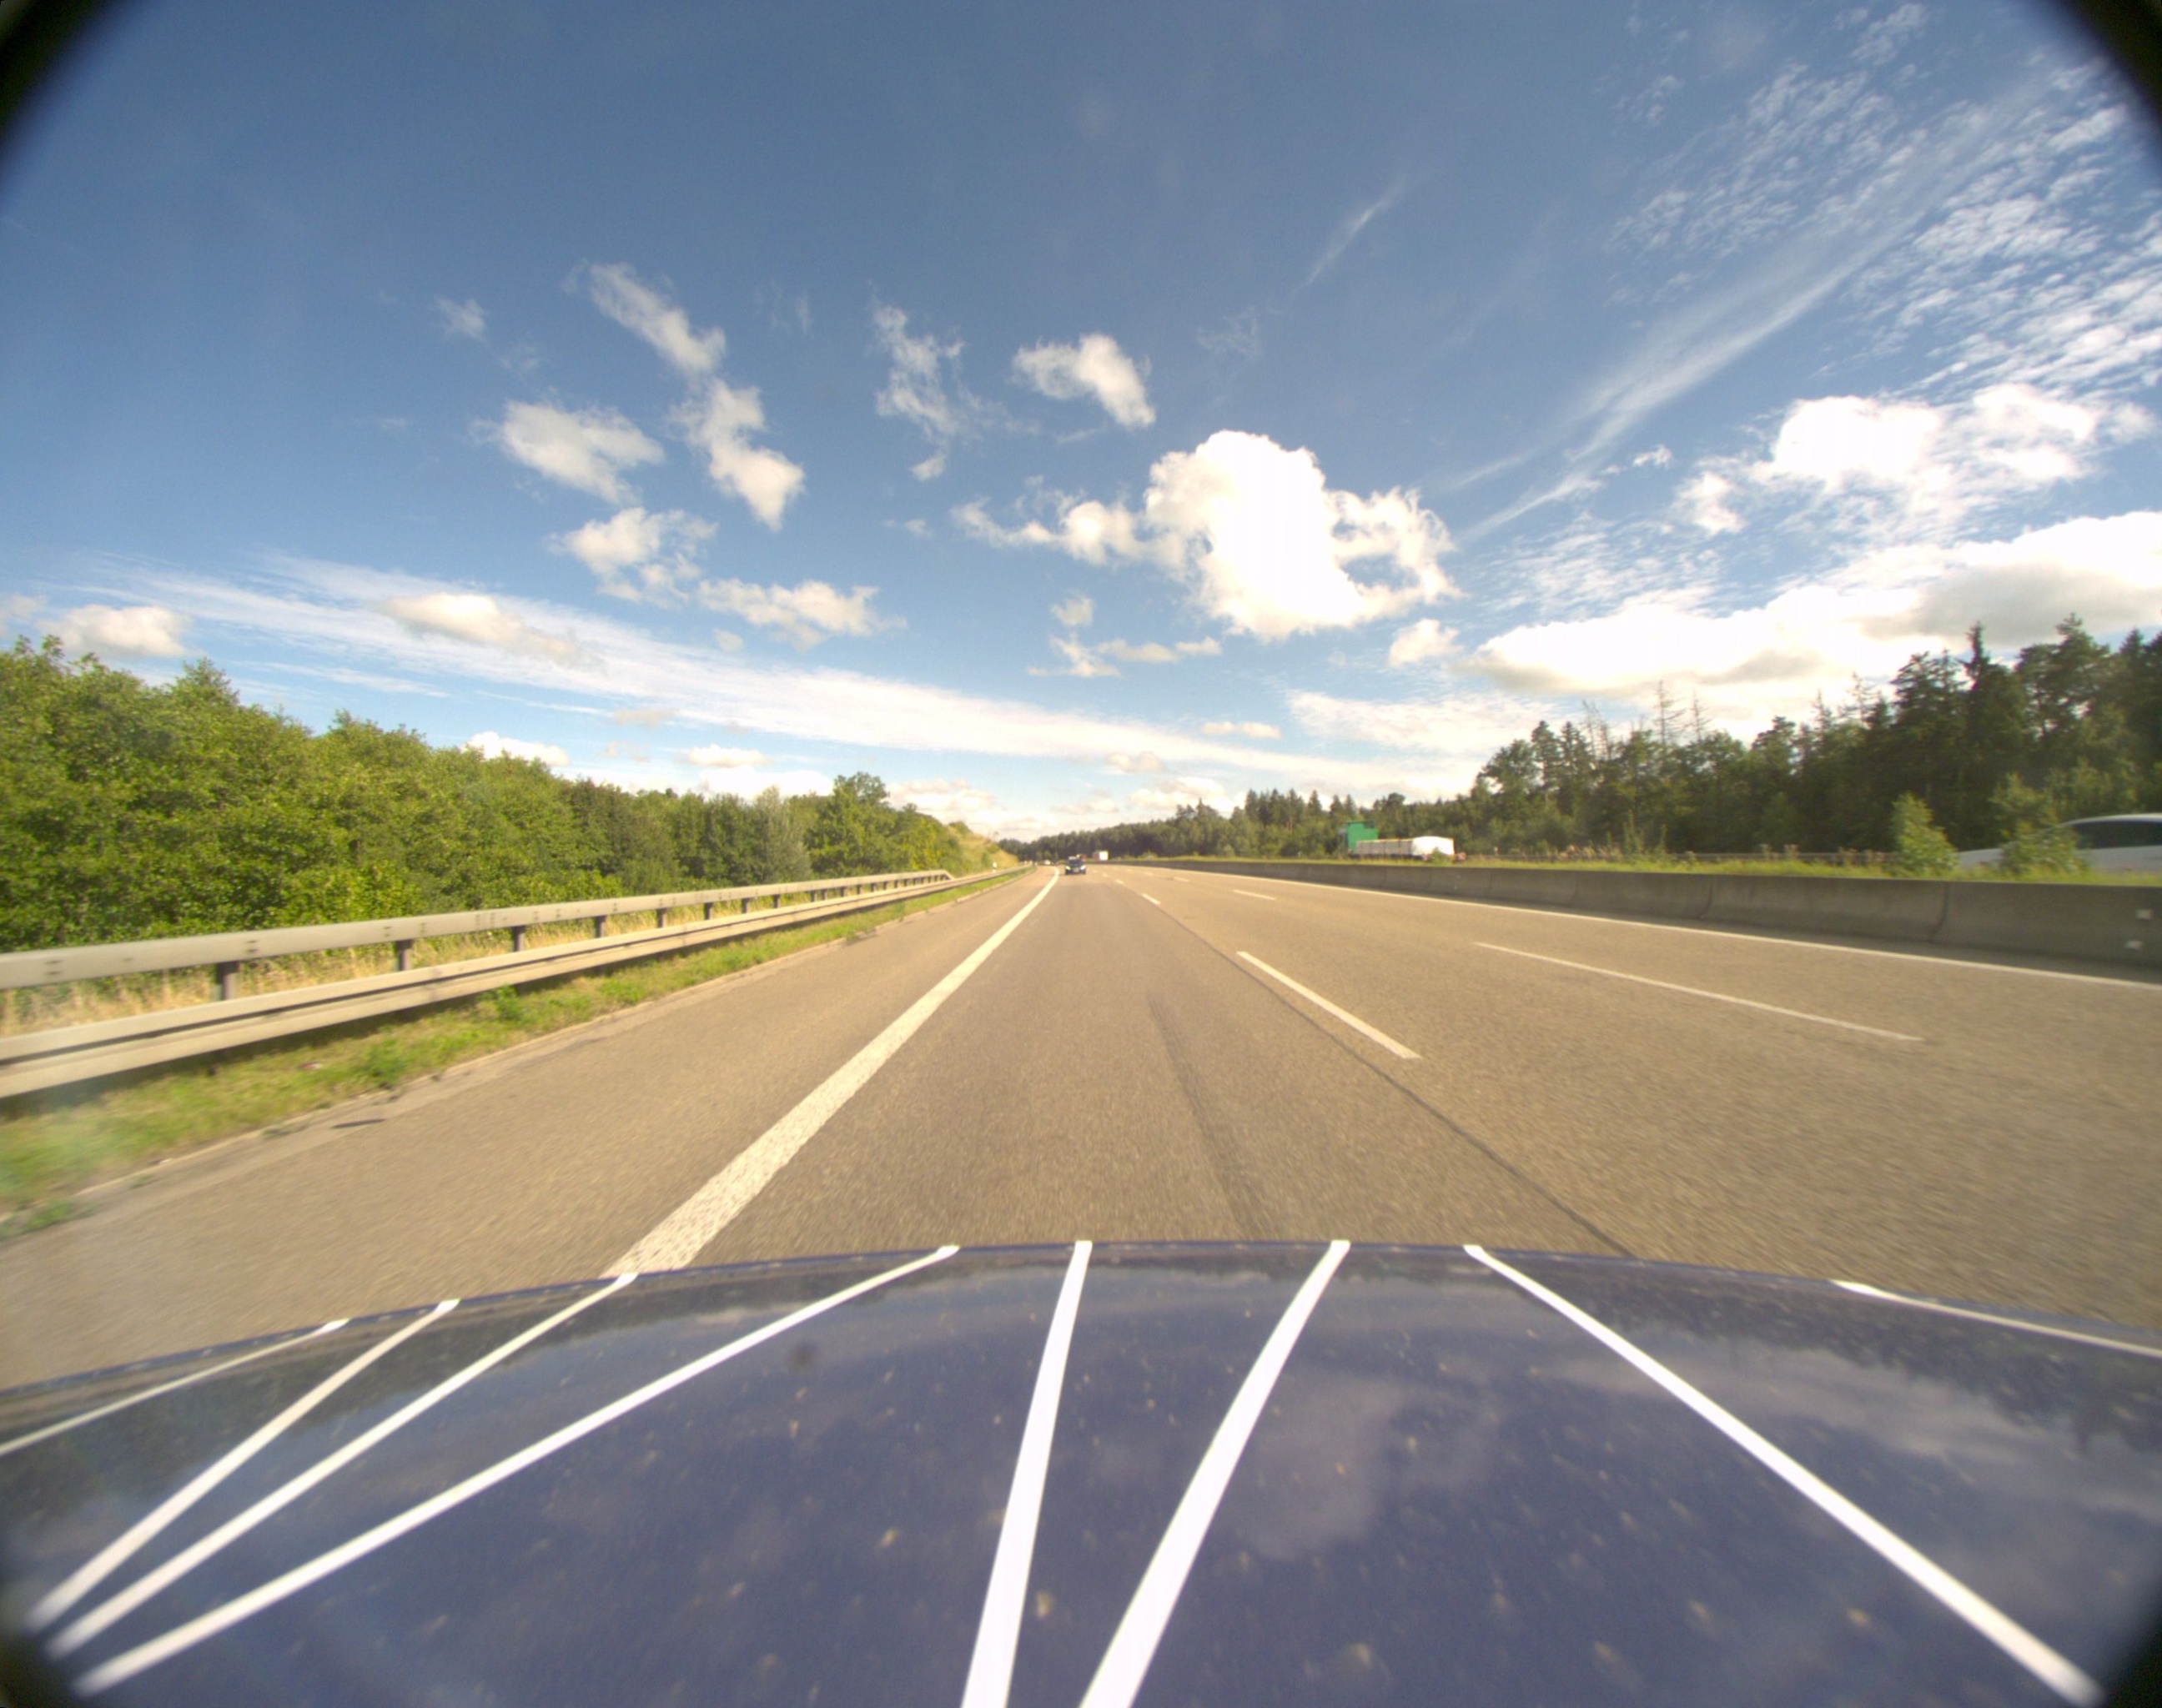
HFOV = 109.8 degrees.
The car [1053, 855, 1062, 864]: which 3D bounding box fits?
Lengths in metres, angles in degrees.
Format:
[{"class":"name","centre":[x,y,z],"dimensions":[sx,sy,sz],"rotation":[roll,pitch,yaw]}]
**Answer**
[{"class":"car","centre":[-5.649,1.264,183.568],"dimensions":[1.999,2.002,3.999],"rotation":[-3,0,-1]}]

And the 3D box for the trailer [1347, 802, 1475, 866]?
[{"class":"trailer","centre":[23.535,-1.306,55.500],"dimensions":[3.384,3.985,13.639],"rotation":[-2,0,0]}]

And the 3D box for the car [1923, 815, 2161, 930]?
[{"class":"car","centre":[15.966,0.224,11.309],"dimensions":[1.930,1.600,4.464],"rotation":[-2,0,1]}]

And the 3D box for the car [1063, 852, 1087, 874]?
[{"class":"car","centre":[-0.553,0.751,67.990],"dimensions":[1.999,1.827,3.999],"rotation":[-2,0,-2]}]

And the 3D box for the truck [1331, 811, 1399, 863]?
[{"class":"truck","centre":[23.557,-1.338,63.453],"dimensions":[3.384,3.985,5.863],"rotation":[-2,0,0]}]

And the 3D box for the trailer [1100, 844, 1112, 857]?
[{"class":"trailer","centre":[8.939,-1.167,268.592],"dimensions":[3.030,4.084,12.788],"rotation":[-2,0,-3]}]
